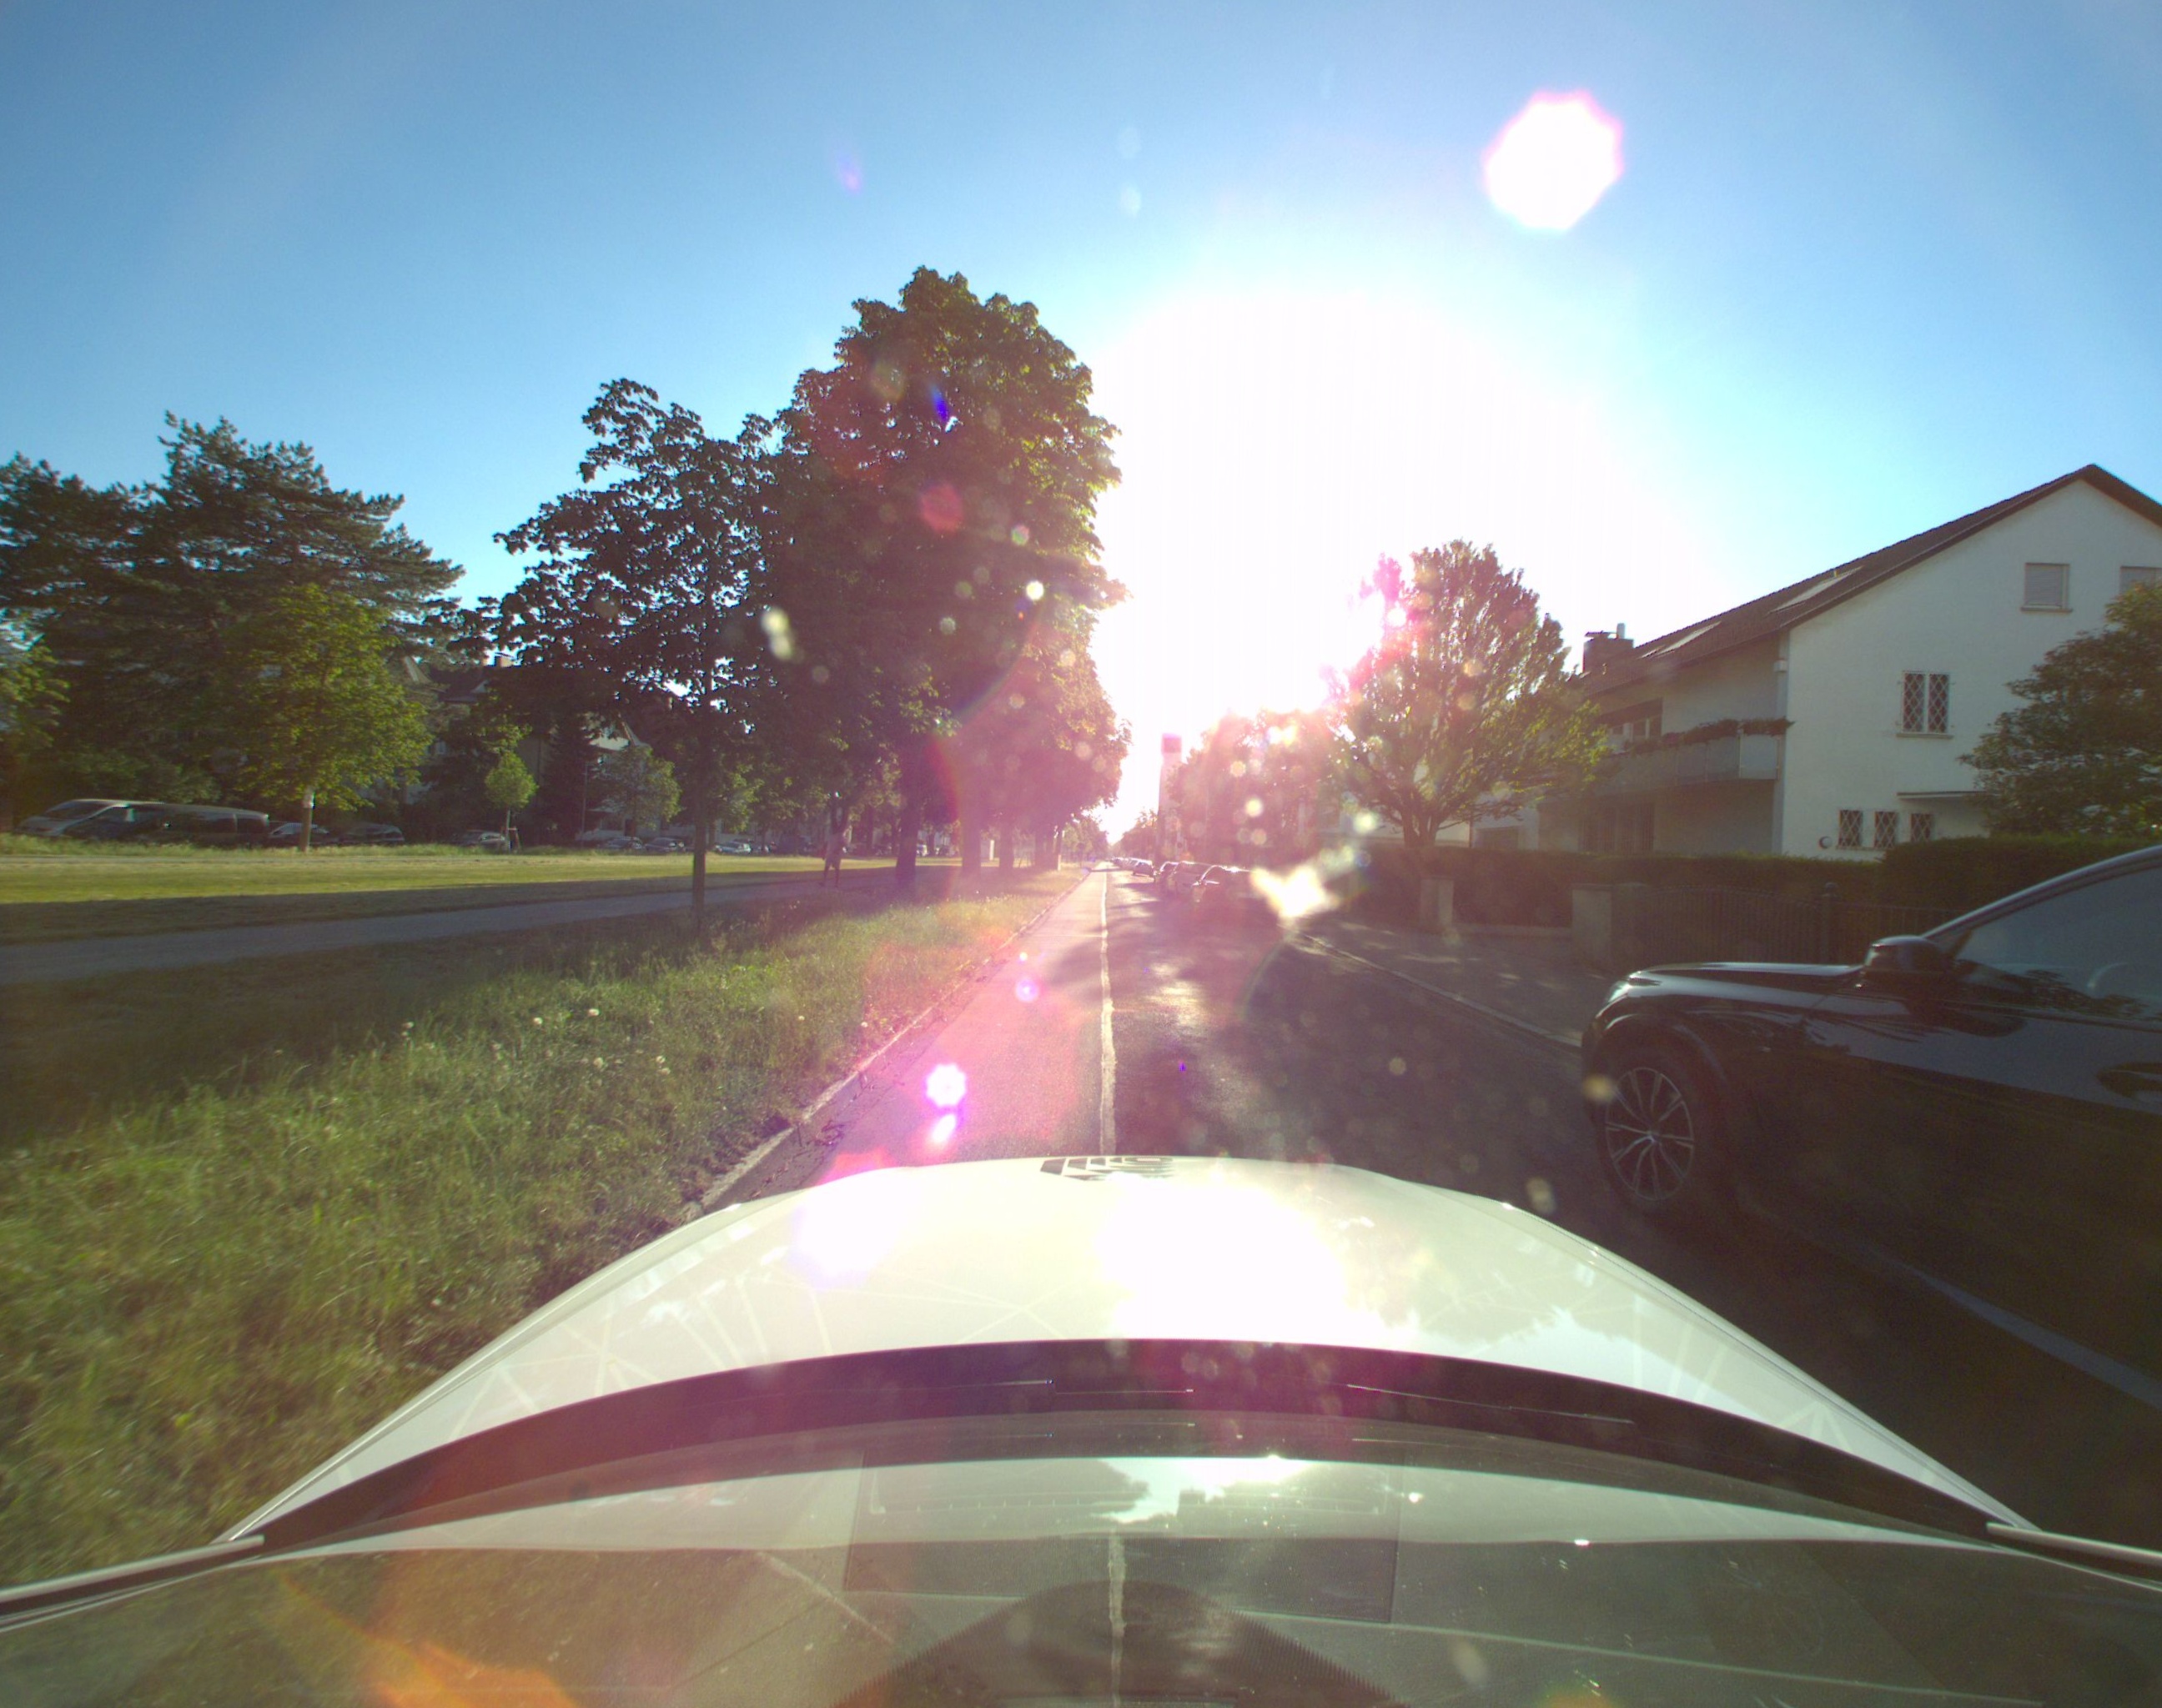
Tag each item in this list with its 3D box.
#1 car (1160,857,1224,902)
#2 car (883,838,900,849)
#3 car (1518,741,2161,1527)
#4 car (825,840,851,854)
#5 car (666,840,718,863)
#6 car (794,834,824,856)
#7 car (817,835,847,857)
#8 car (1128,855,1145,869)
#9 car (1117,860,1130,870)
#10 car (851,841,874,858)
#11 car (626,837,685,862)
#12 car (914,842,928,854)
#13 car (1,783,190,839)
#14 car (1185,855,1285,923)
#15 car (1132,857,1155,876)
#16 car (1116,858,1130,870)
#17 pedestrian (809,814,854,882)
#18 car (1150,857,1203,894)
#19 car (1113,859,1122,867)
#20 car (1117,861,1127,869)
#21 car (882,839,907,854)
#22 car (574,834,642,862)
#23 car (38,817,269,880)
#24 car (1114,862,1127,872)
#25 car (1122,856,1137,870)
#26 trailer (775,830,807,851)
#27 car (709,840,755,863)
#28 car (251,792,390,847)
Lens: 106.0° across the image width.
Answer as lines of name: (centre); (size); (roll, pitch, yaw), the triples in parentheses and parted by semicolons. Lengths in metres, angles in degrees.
car: (4.286, 0.949, 31.960); (1.687, 1.483, 3.926); (7, 0, -2)
car: (-36.200, -2.029, 155.515); (1.986, 2.013, 4.486); (-4, 1, 1)
car: (3.410, 0.662, 2.048); (1.987, 1.737, 4.864); (3, 0, 0)
car: (-30.290, -0.848, 101.779); (1.678, 1.559, 4.317); (3, 0, 3)
car: (-32.068, -0.165, 67.332); (1.985, 1.721, 4.258); (3, -1, 3)
car: (-35.986, -1.187, 107.828); (1.986, 2.673, 5.189); (3, 0, 2)
car: (-35.862, -1.098, 117.494); (2.428, 2.922, 5.820); (0, -1, 2)
car: (6.589, 0.925, 97.683); (1.753, 1.605, 4.359); (2, 0, 1)
car: (6.687, 1.729, 128.199); (1.755, 1.521, 4.000); (4, 0, 1)
car: (-29.978, -0.591, 112.015); (1.678, 2.175, 4.317); (3, 0, 3)
car: (-31.811, -0.312, 61.011); (1.985, 1.684, 4.004); (3, -1, 4)
car: (-34.160, -1.190, 174.263); (1.986, 2.409, 4.365); (0, -1, 2)
car: (-38.166, -1.590, 31.747); (1.809, 1.838, 4.410); (3, 0, 2)
car: (3.952, 0.854, 21.641); (1.787, 1.492, 4.675); (3, -1, 1)
car: (5.647, 1.115, 74.192); (1.750, 1.419, 4.074); (9, 0, 2)
car: (6.079, 1.493, 117.581); (1.753, 1.605, 4.359); (2, 0, 1)
pedestrian: (-6.716, -0.163, 21.956); (0.720, 1.758, 0.995); (3, 0, 8)
car: (4.276, 0.924, 36.975); (1.744, 1.477, 4.286); (4, 0, -1)
car: (8.899, 2.232, 199.370); (1.972, 1.683, 4.003); (3, 0, 3)
car: (8.619, 2.376, 171.278); (1.985, 1.629, 4.003); (3, 0, 3)
car: (-29.836, -1.142, 130.363); (2.525, 2.236, 5.462); (2, 0, 2)
car: (-32.218, -0.386, 55.622); (1.985, 1.684, 4.004); (3, -1, 4)
car: (-32.721, -0.197, 29.053); (1.985, 1.940, 5.249); (3, 0, 3)
car: (6.723, 2.214, 138.774); (1.985, 1.464, 4.003); (3, 0, 3)
car: (6.196, 1.121, 103.451); (1.679, 1.651, 4.101); (3, 0, 2)
trailer: (-36.150, -1.616, 101.745); (1.986, 2.428, 4.726); (3, 0, 2)
car: (-31.262, -0.171, 73.101); (1.985, 1.860, 4.258); (3, -1, 3)
car: (-32.742, -1.434, 35.255); (1.986, 2.013, 4.002); (4, 0, 2)
